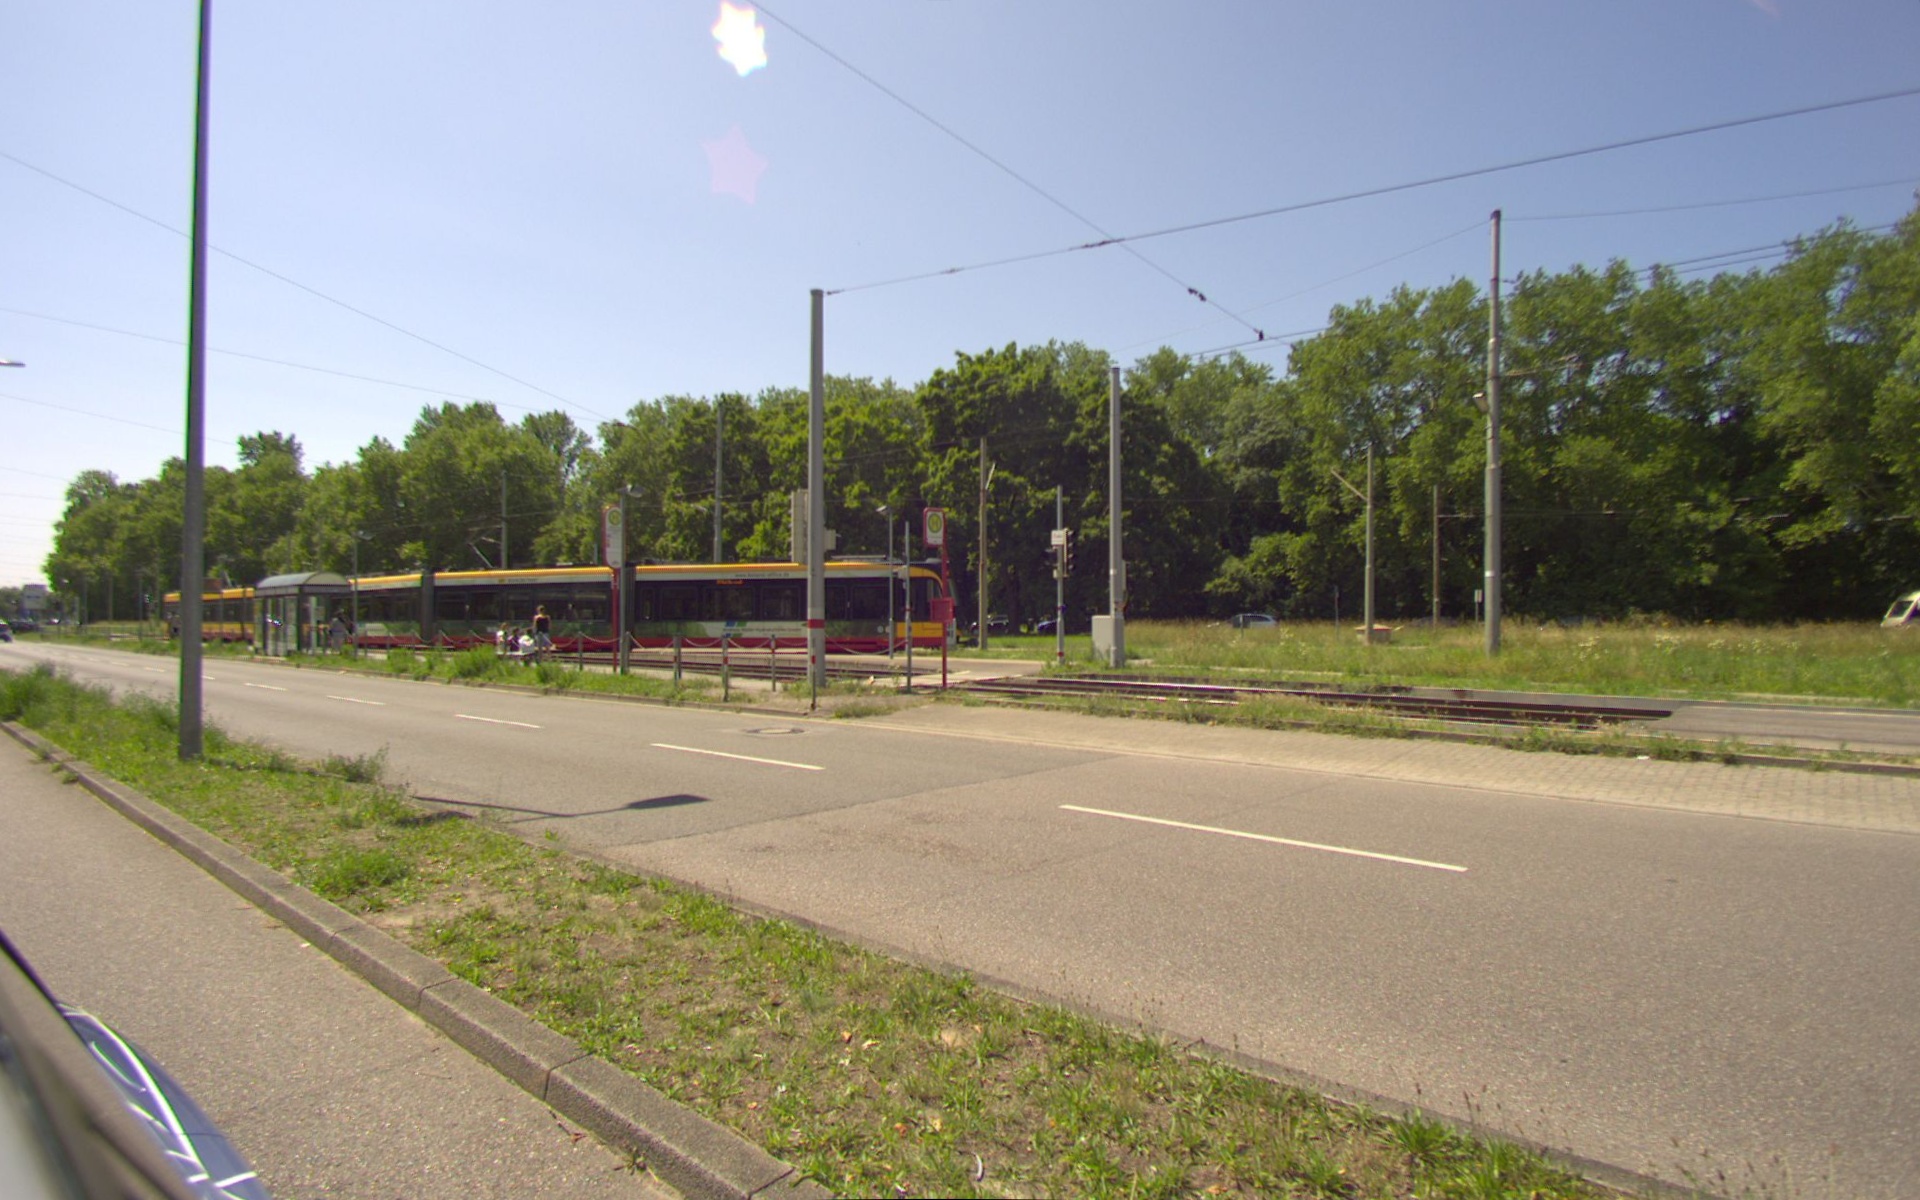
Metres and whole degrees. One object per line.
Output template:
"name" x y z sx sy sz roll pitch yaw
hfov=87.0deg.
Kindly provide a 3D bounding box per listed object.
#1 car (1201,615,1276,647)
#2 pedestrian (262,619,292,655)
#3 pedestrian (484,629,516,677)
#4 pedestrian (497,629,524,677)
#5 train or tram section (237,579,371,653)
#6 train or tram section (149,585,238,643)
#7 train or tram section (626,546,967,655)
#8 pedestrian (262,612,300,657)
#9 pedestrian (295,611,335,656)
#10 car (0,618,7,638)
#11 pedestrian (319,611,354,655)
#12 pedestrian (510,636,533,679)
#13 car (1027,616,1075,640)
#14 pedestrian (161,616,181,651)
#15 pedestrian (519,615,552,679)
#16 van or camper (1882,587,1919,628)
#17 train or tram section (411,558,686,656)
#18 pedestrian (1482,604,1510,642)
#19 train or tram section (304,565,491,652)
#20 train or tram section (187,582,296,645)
"car" 16.224 1.821 58.955 3.974 1.741 1.985 -1 0 23
"pedestrian" -25.396 1.361 37.613 0.839 1.293 0.694 -1 0 40
"pedestrian" -11.977 1.373 26.351 0.535 1.198 0.575 -1 0 38
"pedestrian" -11.589 1.370 26.106 0.400 1.198 0.489 -1 0 40
"train or tram section" -37.434 0.912 57.398 13.258 3.795 3.011 -1 0 42
"train or tram section" -56.140 1.037 73.995 11.536 3.884 2.919 -1 0 42
"train or tram section" -6.104 0.087 37.684 12.332 3.651 3.040 -1 0 15
"pedestrian" -24.736 1.248 36.865 1.025 1.558 0.865 -1 0 40
"pedestrian" -23.319 1.209 36.579 0.984 1.558 0.921 -1 0 39
"car" -73.046 2.107 76.010 3.717 1.516 1.751 -1 -1 40
"pedestrian" -22.336 1.183 36.257 0.878 1.519 0.826 -1 0 40
"pedestrian" -11.219 1.457 25.889 0.377 1.066 0.379 -1 0 40
"car" 6.314 1.948 70.399 3.058 1.608 1.375 -1 0 29
"pedestrian" -41.468 1.760 53.195 0.776 1.804 0.625 -1 0 40
"pedestrian" -10.753 1.187 25.654 0.582 1.577 0.529 -1 0 40
"van or camper" 51.374 0.318 50.716 7.312 2.029 1.984 -1 0 24
"train or tram section" -17.124 0.363 41.618 12.386 3.651 3.027 -1 0 27
"pedestrian" 23.061 0.985 43.540 0.779 1.586 0.692 -1 0 -5
"train or tram section" -27.237 0.449 48.428 13.885 3.651 3.013 -1 0 40
"train or tram section" -47.027 0.910 66.015 12.590 3.769 3.012 -1 0 42
